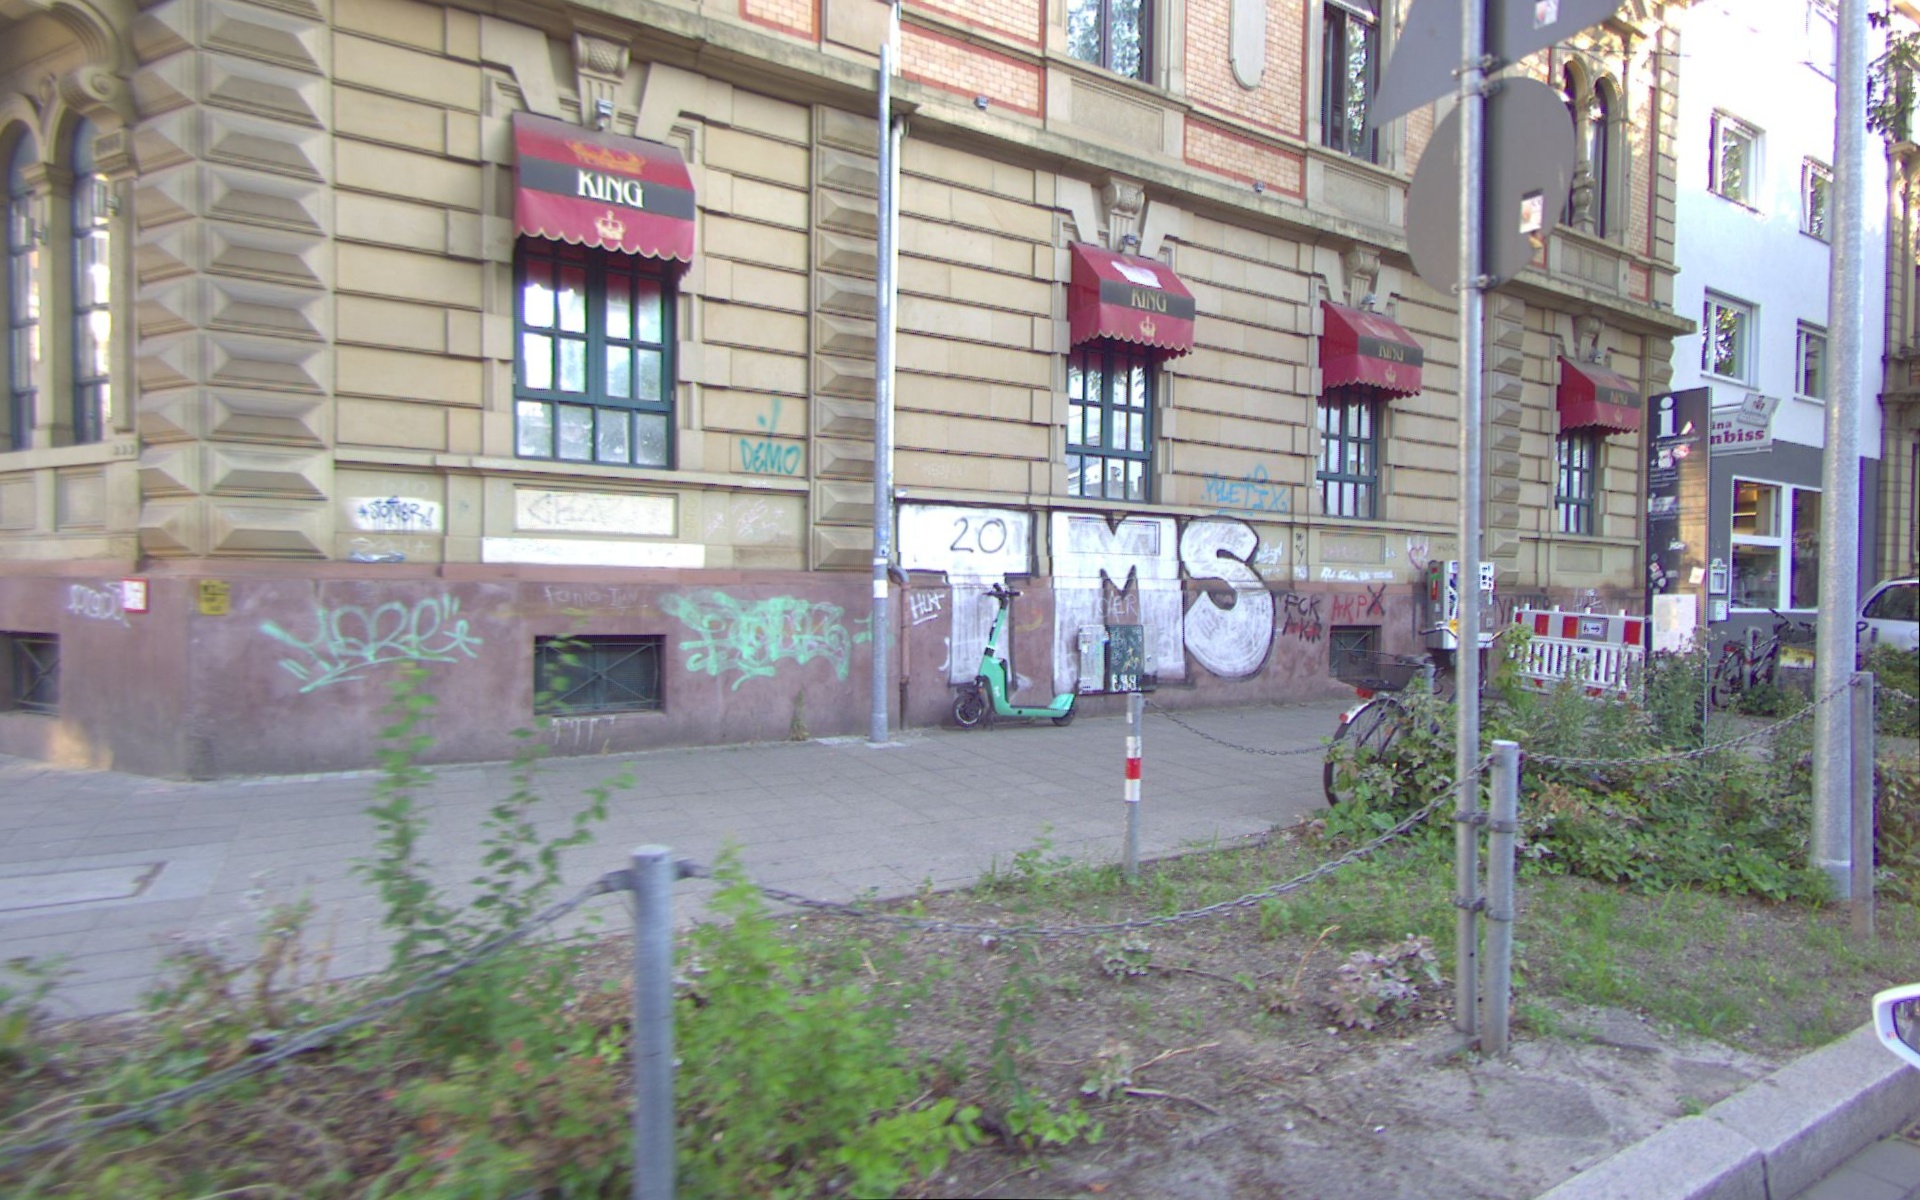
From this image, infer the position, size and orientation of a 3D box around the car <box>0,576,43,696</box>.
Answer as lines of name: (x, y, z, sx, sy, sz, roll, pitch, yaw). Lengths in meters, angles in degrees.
car: (-14.542, 0.504, 13.216, 4.538, 1.532, 1.768, -1, 0, 21)

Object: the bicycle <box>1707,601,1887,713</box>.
bicycle: (10.002, 0.632, 11.969, 2.602, 1.202, 0.731, 0, 2, -29)

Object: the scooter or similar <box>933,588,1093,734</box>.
scooter or similar: (0.449, 0.502, 8.572, 1.267, 1.184, 0.438, 1, 2, -18)

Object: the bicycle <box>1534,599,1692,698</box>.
bicycle: (8.684, 0.610, 13.317, 2.532, 1.218, 0.634, 0, 0, -29)

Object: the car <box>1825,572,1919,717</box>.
car: (13.758, 0.585, 12.268, 1.813, 1.859, 4.523, 0, 0, -32)

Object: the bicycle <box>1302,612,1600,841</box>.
bicycle: (2.978, 0.674, 6.005, 2.076, 1.169, 0.508, 0, 3, -30)
